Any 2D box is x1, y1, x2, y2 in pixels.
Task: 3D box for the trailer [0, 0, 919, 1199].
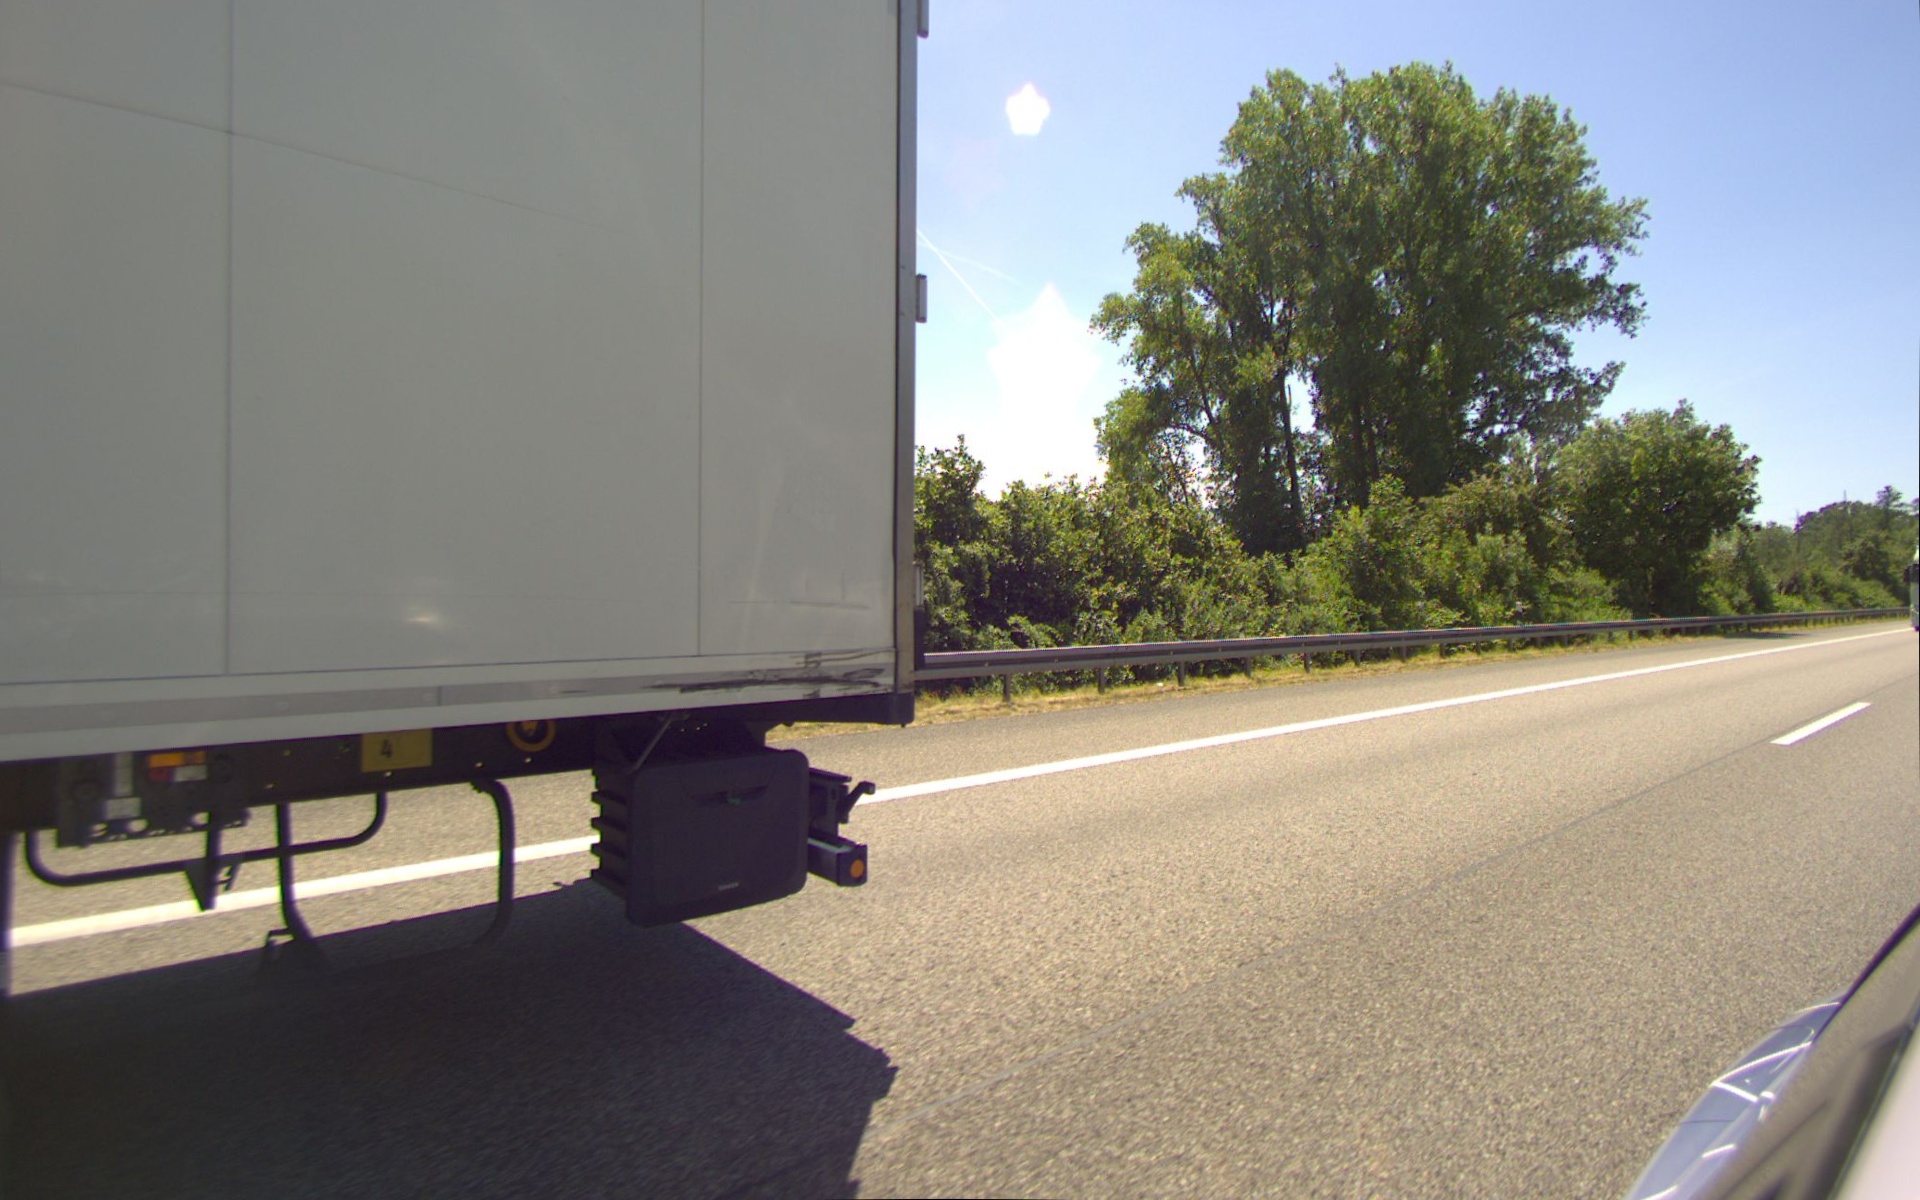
[{"bbox_3d":[-5.697,-0.722,0.479,12.317,4.158,2.963,-1,0,-42],"label":"trailer"}]
